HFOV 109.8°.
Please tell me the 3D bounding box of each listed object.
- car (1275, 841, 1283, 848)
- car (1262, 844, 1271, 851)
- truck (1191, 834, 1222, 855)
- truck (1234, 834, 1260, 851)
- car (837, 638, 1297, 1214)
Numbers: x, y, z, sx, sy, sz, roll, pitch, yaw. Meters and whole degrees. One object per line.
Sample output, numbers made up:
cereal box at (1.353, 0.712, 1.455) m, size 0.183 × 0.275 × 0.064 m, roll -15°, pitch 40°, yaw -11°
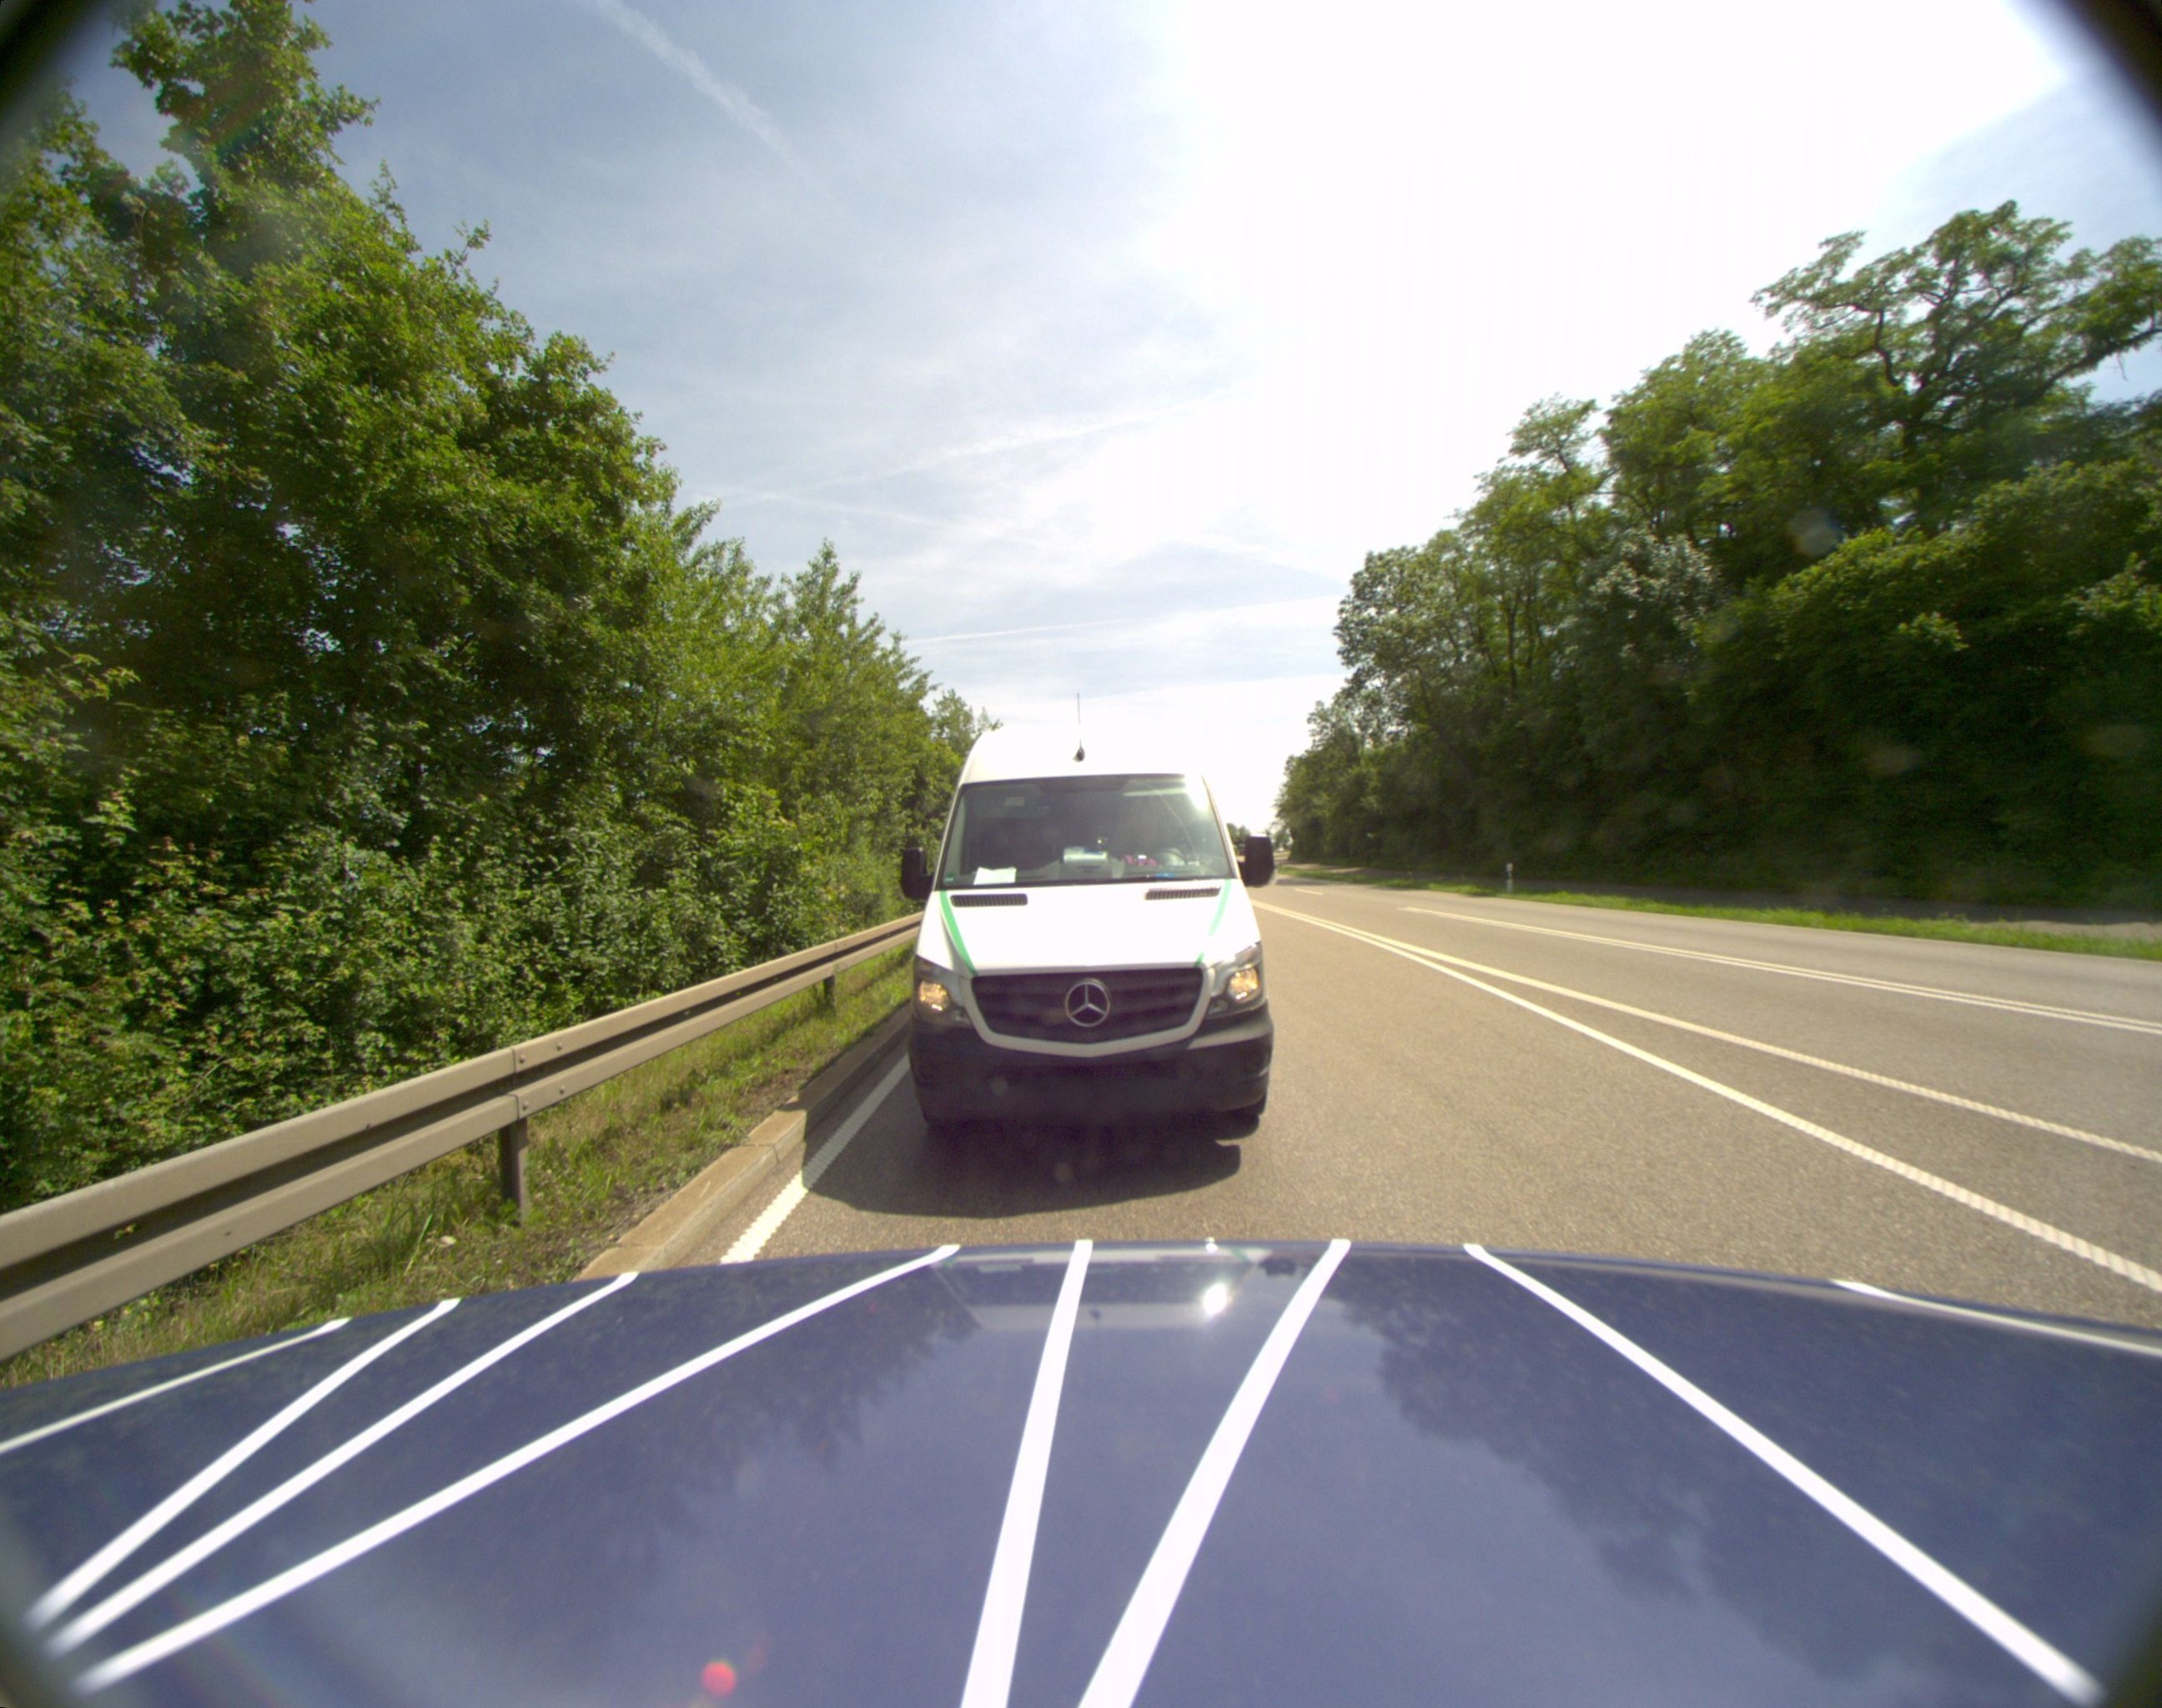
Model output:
car at (65.911, -3.122, 253.418) m, size 1.853 × 2.002 × 3.894 m, roll -2°, pitch 1°, yaw 26°
car at (57.912, -2.040, 237.592) m, size 1.915 × 2.002 × 4.182 m, roll -2°, pitch 1°, yaw 25°
truck at (29.025, -2.127, 174.627) m, size 4.392 × 4.434 × 14.731 m, roll -2°, pitch 0°, yaw 20°
truck at (47.427, -3.217, 216.348) m, size 3.980 × 4.434 × 14.364 m, roll -2°, pitch 0°, yaw 26°
car at (0.016, 0.333, 6.016) m, size 1.958 × 2.502 × 5.267 m, roll -2°, pitch 0°, yaw 2°
